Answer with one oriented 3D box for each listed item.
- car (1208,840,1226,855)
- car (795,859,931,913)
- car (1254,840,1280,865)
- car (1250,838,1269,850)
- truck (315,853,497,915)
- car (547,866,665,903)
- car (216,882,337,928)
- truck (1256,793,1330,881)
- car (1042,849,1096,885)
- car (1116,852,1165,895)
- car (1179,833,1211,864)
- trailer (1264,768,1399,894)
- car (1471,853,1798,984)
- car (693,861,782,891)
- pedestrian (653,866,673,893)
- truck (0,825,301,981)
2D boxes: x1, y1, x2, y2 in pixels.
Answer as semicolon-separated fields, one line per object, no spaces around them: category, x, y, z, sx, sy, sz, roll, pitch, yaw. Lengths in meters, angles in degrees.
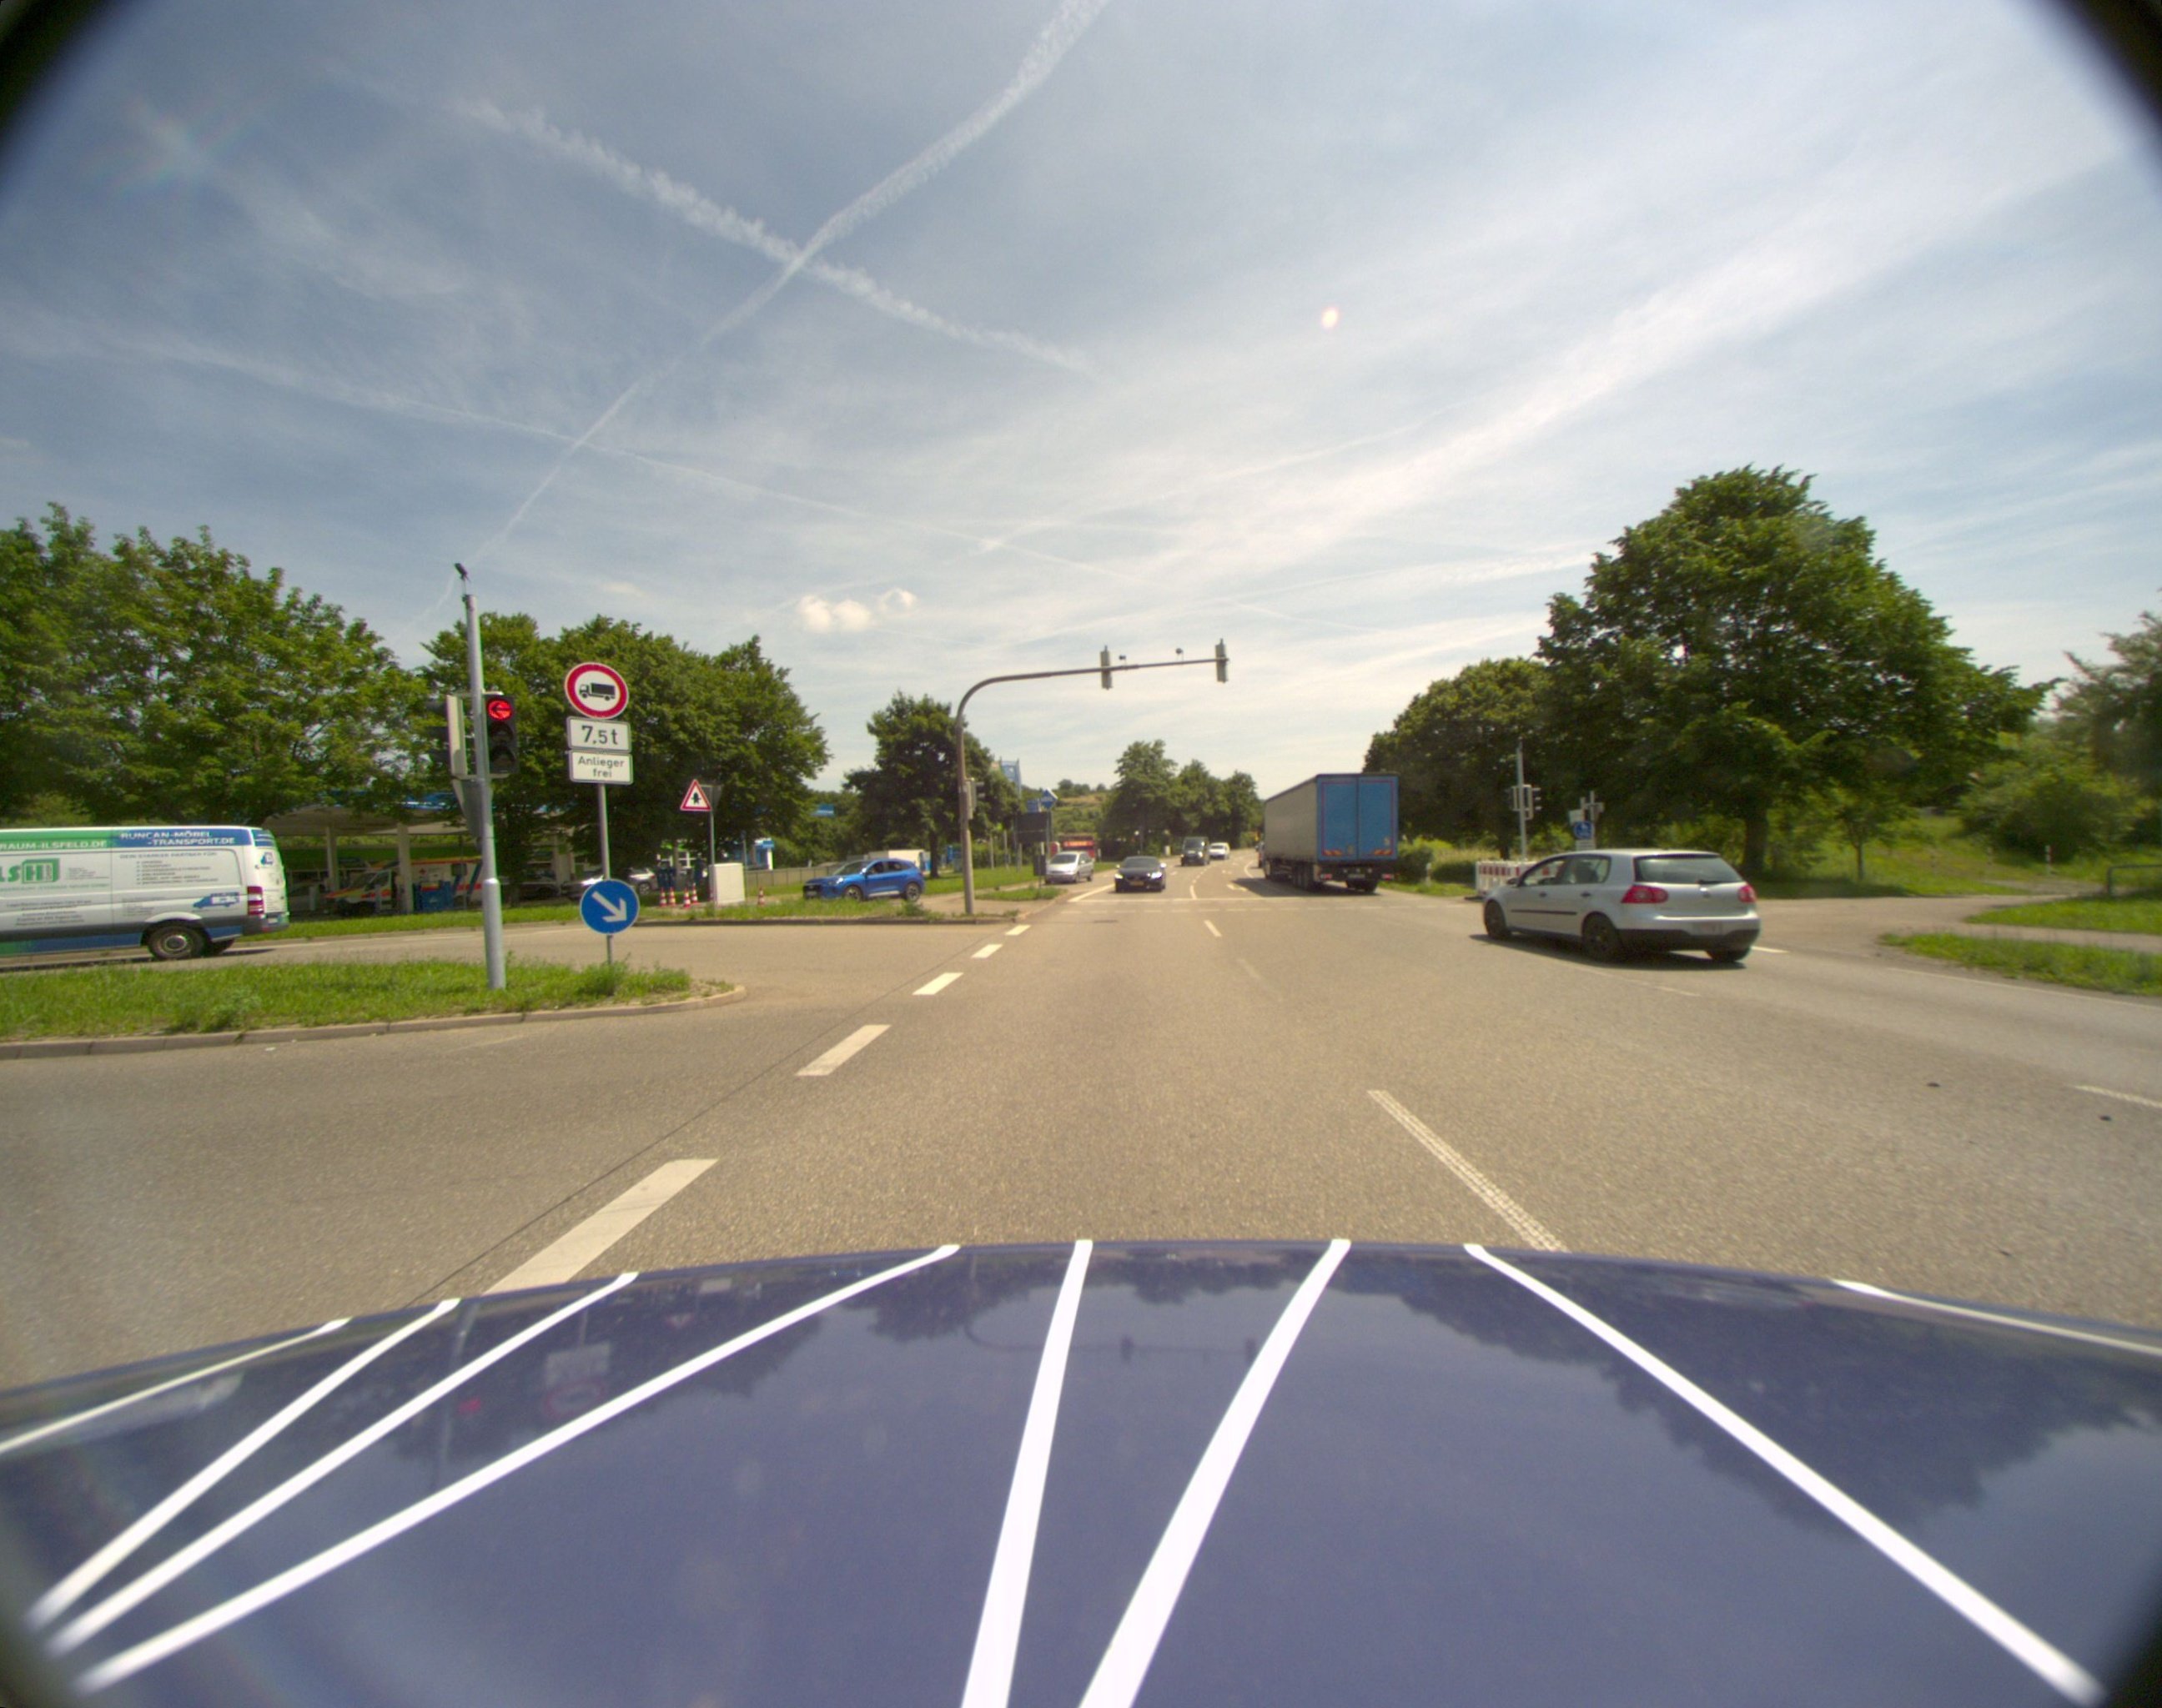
car;14.939;-0.687;83.250;1.781;1.484;4.160;-1;2;12
car;-7.531;1.067;26.630;1.779;1.549;4.396;-2;1;34
car;14.293;-0.139;58.231;1.873;1.875;4.956;0;1;15
car;26.712;-1.511;113.557;1.806;1.722;4.007;-2;0;26
truck;-32.844;1.392;37.235;2.257;2.603;6.160;-2;1;32
car;-25.563;1.589;41.061;2.033;1.594;4.949;0;2;33
car;-41.480;2.589;39.271;1.708;2.002;3.869;-1;1;27
truck;10.529;-0.796;38.294;2.571;4.006;6.563;-1;0;7
car;-0.578;0.650;41.169;1.863;1.682;4.529;-1;2;13
car;2.325;0.719;30.207;1.782;1.484;4.158;-2;1;4
car;10.100;-0.519;66.924;1.978;2.505;4.162;-1;2;20
trailer;9.672;-0.734;31.185;2.571;4.006;13.601;-1;0;7
car;7.479;0.751;10.862;1.775;1.487;3.999;0;1;0
car;-21.459;1.345;47.648;1.994;1.612;4.638;0;2;33
pedestrian;-23.845;1.470;43.367;0.666;1.488;0.722;-1;3;33
truck;-19.263;0.902;14.361;5.953;2.720;2.068;-2;-1;-35
